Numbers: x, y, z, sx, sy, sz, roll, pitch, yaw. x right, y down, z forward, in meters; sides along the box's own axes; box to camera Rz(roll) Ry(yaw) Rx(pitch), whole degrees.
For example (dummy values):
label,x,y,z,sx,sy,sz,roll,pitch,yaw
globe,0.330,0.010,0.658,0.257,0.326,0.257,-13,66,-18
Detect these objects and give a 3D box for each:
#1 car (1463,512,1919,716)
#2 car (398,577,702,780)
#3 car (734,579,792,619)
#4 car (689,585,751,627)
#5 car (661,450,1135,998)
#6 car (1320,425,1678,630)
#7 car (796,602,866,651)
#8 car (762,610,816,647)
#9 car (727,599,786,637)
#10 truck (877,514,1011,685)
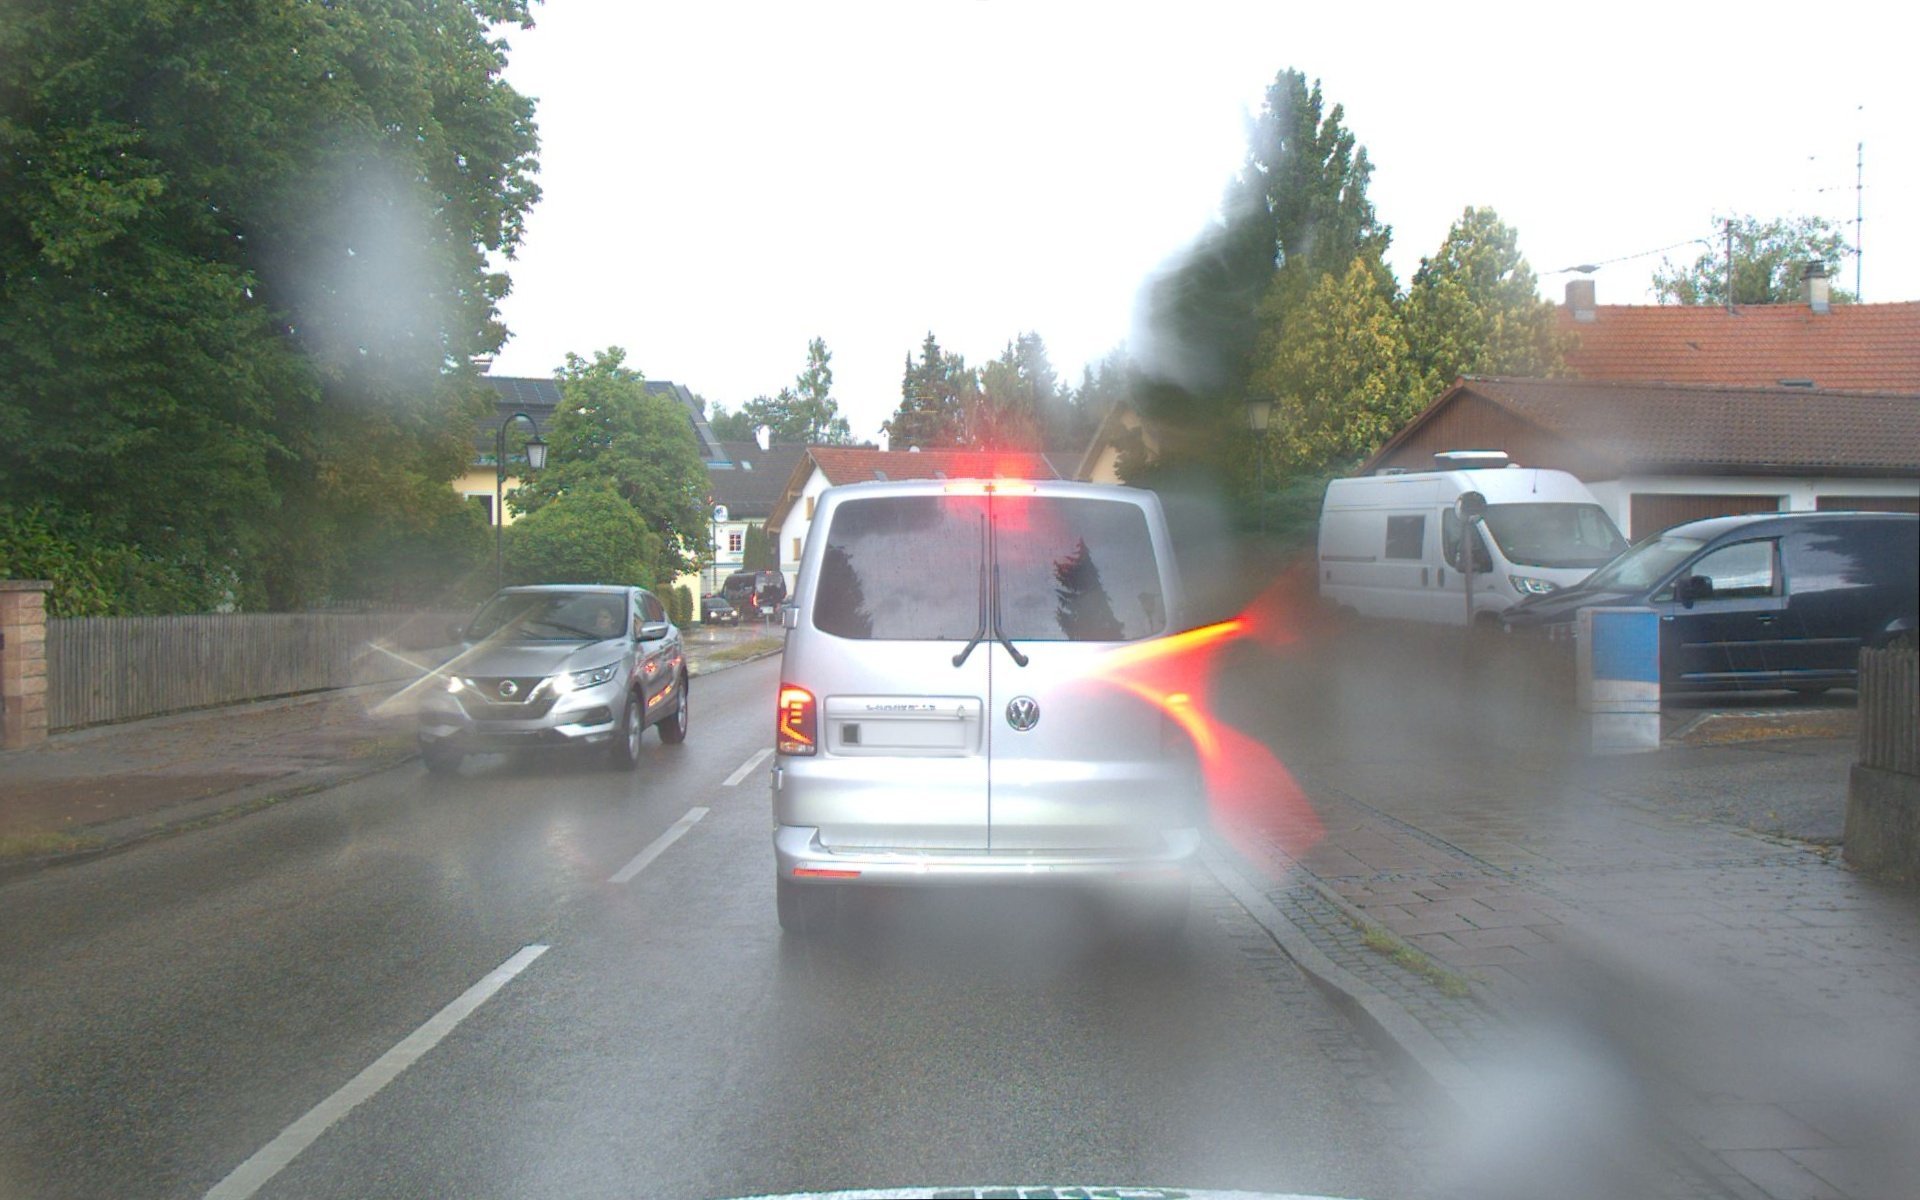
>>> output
label,x,y,z,sx,sy,sz,roll,pitch,yaw
car,7.064,0.083,15.765,4.013,1.782,1.693,-1,2,-4
car,-3.567,0.643,15.183,1.790,1.586,4.176,-1,-1,-1
car,-10.671,-0.066,89.430,1.968,2.049,3.969,2,-1,-25
car,-12.251,0.298,84.352,1.970,2.049,3.965,2,-1,-27
car,-0.178,0.491,8.320,1.763,2.049,4.001,1,-1,2
car,6.543,-0.783,20.792,1.960,2.211,4.935,2,-1,-14
car,-3.723,0.762,48.269,1.744,1.333,3.775,1,-1,-1
car,-6.684,1.108,64.941,1.744,1.333,3.775,1,-1,-1
car,-11.000,0.934,89.244,1.969,1.961,3.966,2,-1,-26
truck,-0.364,0.018,33.957,2.425,3.128,6.294,1,-1,-1
